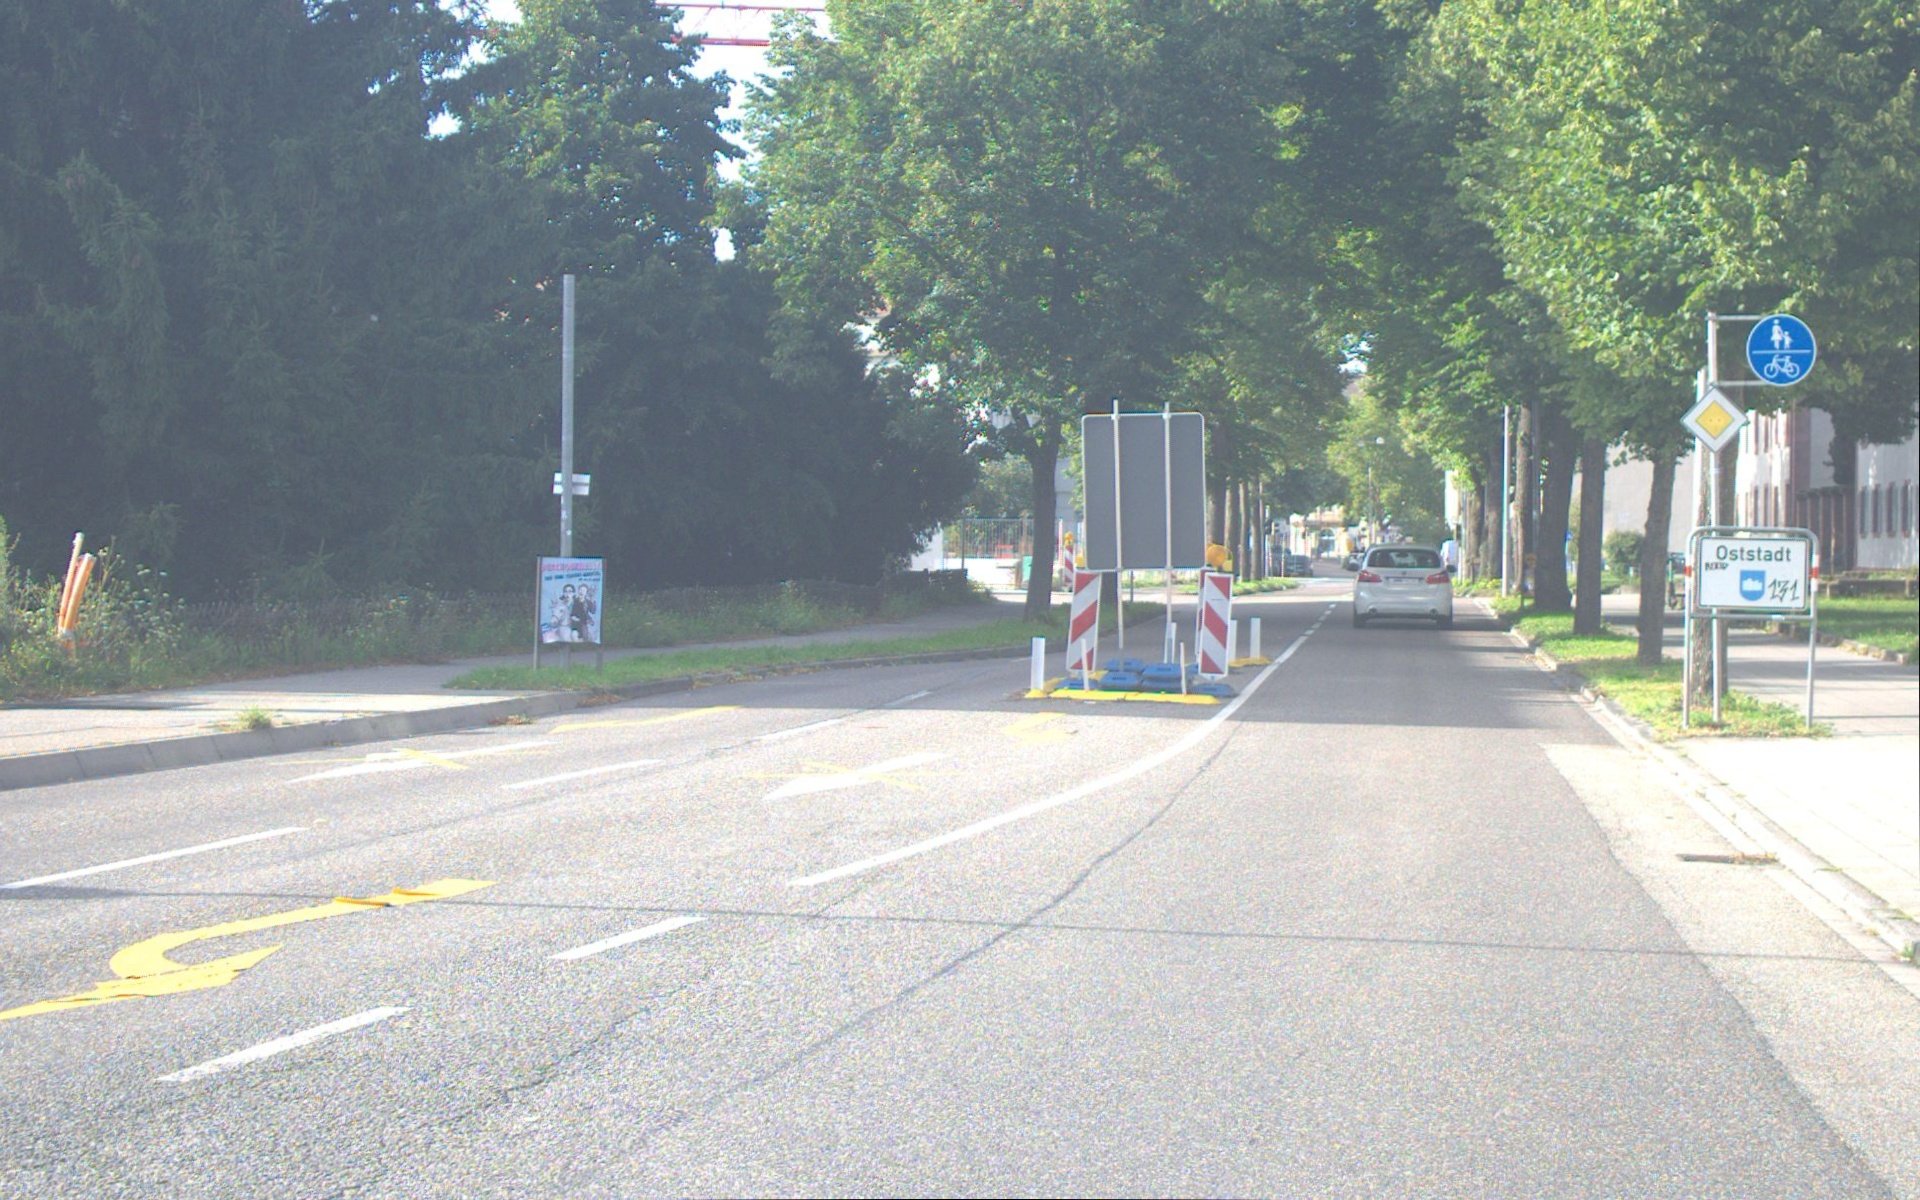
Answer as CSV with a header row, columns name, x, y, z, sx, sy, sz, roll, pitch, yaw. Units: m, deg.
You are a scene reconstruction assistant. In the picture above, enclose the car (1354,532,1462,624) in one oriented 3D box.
name,x,y,z,sx,sy,sz,roll,pitch,yaw
car,8.234,-0.415,63.477,1.851,1.567,4.454,2,1,7
